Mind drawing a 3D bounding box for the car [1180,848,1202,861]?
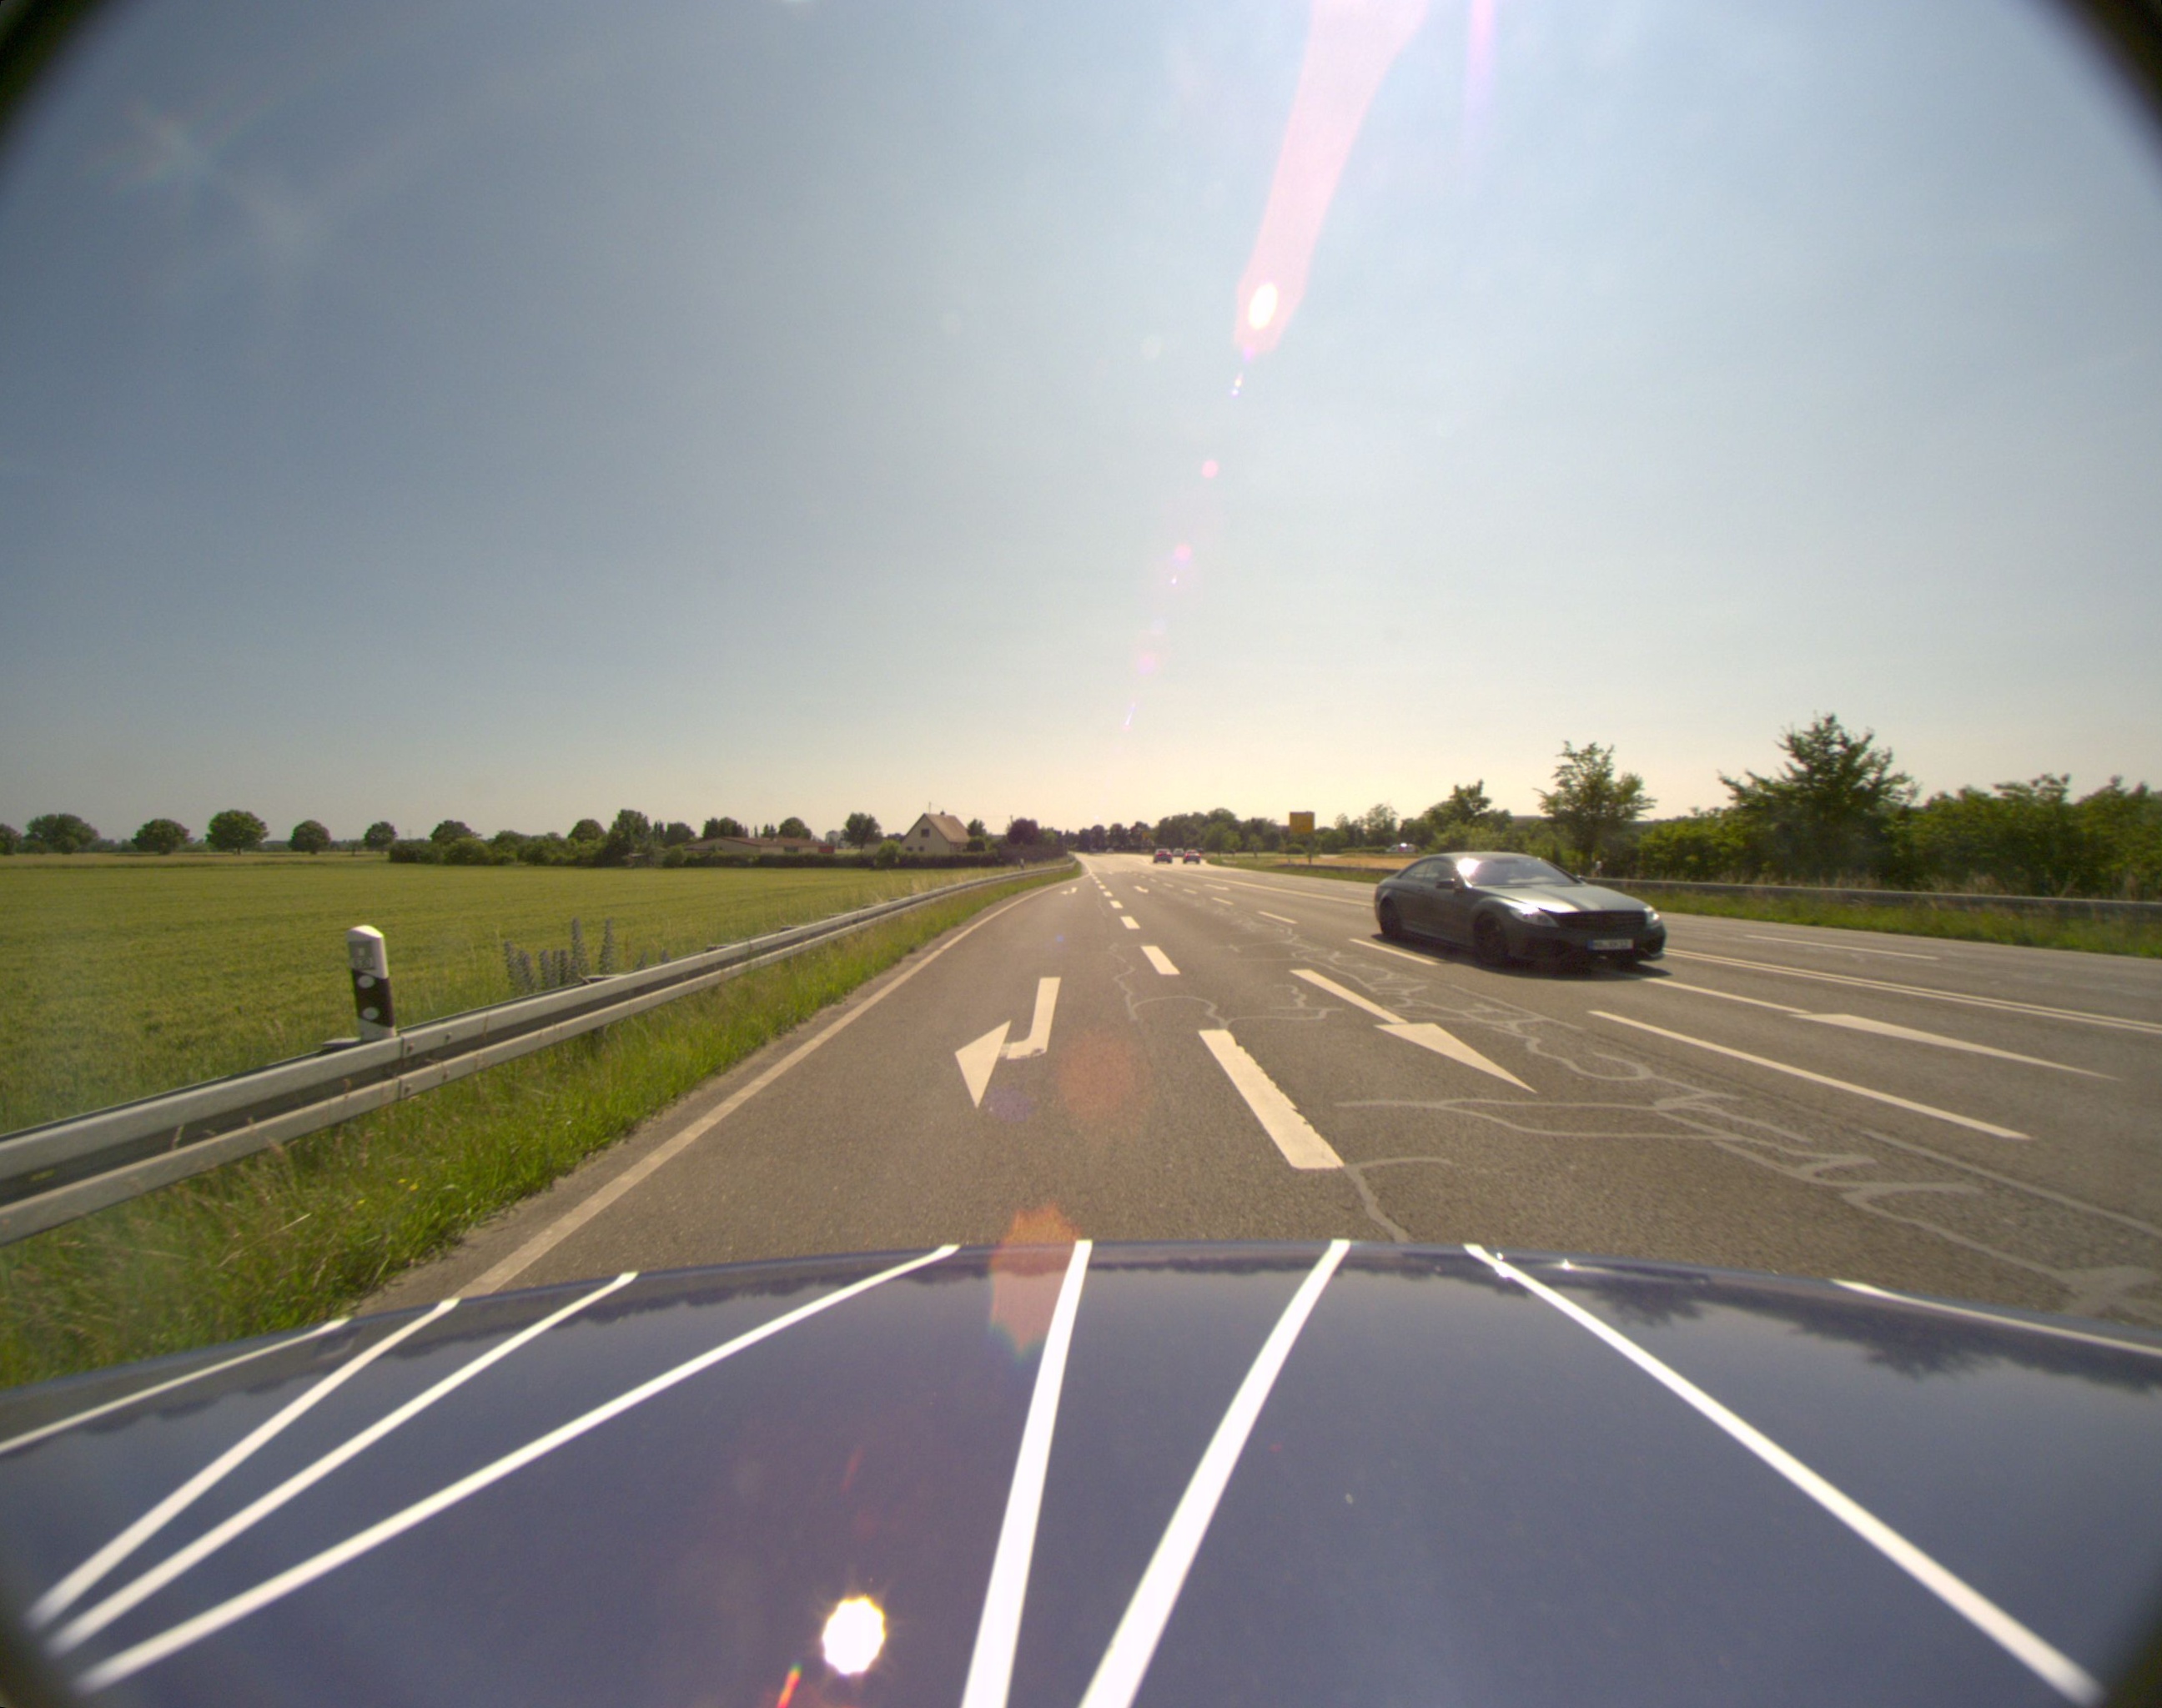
[{"bbox_3d":[13.015,0.021,90.174,1.824,1.499,4.126,1,1,-1],"label":"car"}]

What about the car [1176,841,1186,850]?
[{"bbox_3d":[19.503,-1.633,148.732,1.668,1.667,4.464,1,1,5],"label":"car"}]

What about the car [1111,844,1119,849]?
[{"bbox_3d":[9.219,-2.040,204.517,1.752,1.434,4.083,-1,1,6],"label":"car"}]

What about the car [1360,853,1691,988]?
[{"bbox_3d":[5.886,0.741,10.958,1.816,1.441,4.876,-1,1,-1],"label":"car"}]

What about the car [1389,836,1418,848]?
[{"bbox_3d":[82.359,-3.131,194.200,6.374,2.893,2.001,-2,2,8],"label":"car"}]

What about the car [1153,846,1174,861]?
[{"bbox_3d":[9.699,-0.092,89.580,1.845,1.578,4.874,2,1,-1],"label":"car"}]
